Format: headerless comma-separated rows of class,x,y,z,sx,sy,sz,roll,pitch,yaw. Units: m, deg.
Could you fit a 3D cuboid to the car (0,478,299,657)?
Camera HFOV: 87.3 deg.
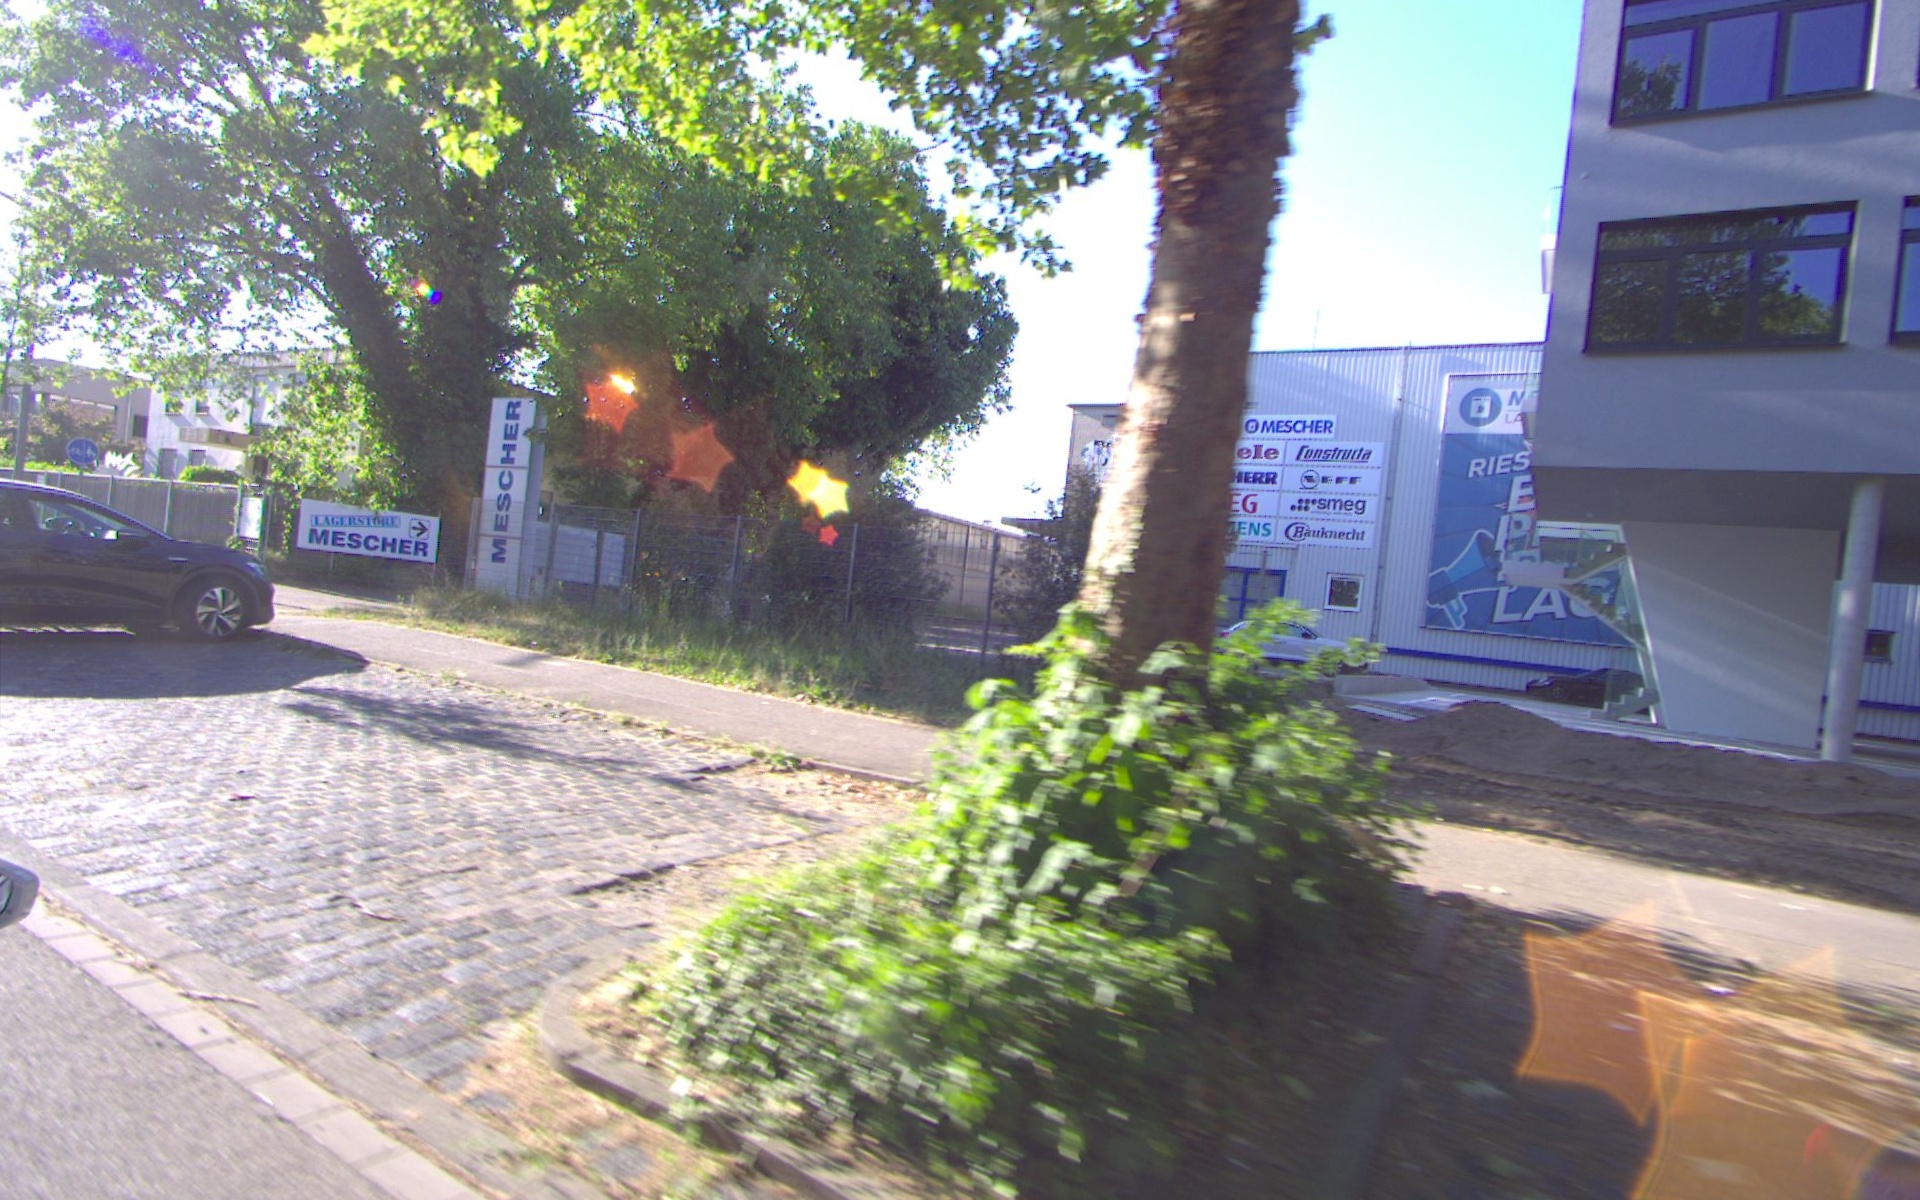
car,-9.924,-0.385,10.575,1.910,1.738,4.573,6,2,28

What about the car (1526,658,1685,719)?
car,19.956,2.732,31.286,3.934,1.347,1.874,6,-2,31

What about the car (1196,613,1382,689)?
car,9.409,1.462,28.861,4.691,1.563,1.999,6,-2,28
